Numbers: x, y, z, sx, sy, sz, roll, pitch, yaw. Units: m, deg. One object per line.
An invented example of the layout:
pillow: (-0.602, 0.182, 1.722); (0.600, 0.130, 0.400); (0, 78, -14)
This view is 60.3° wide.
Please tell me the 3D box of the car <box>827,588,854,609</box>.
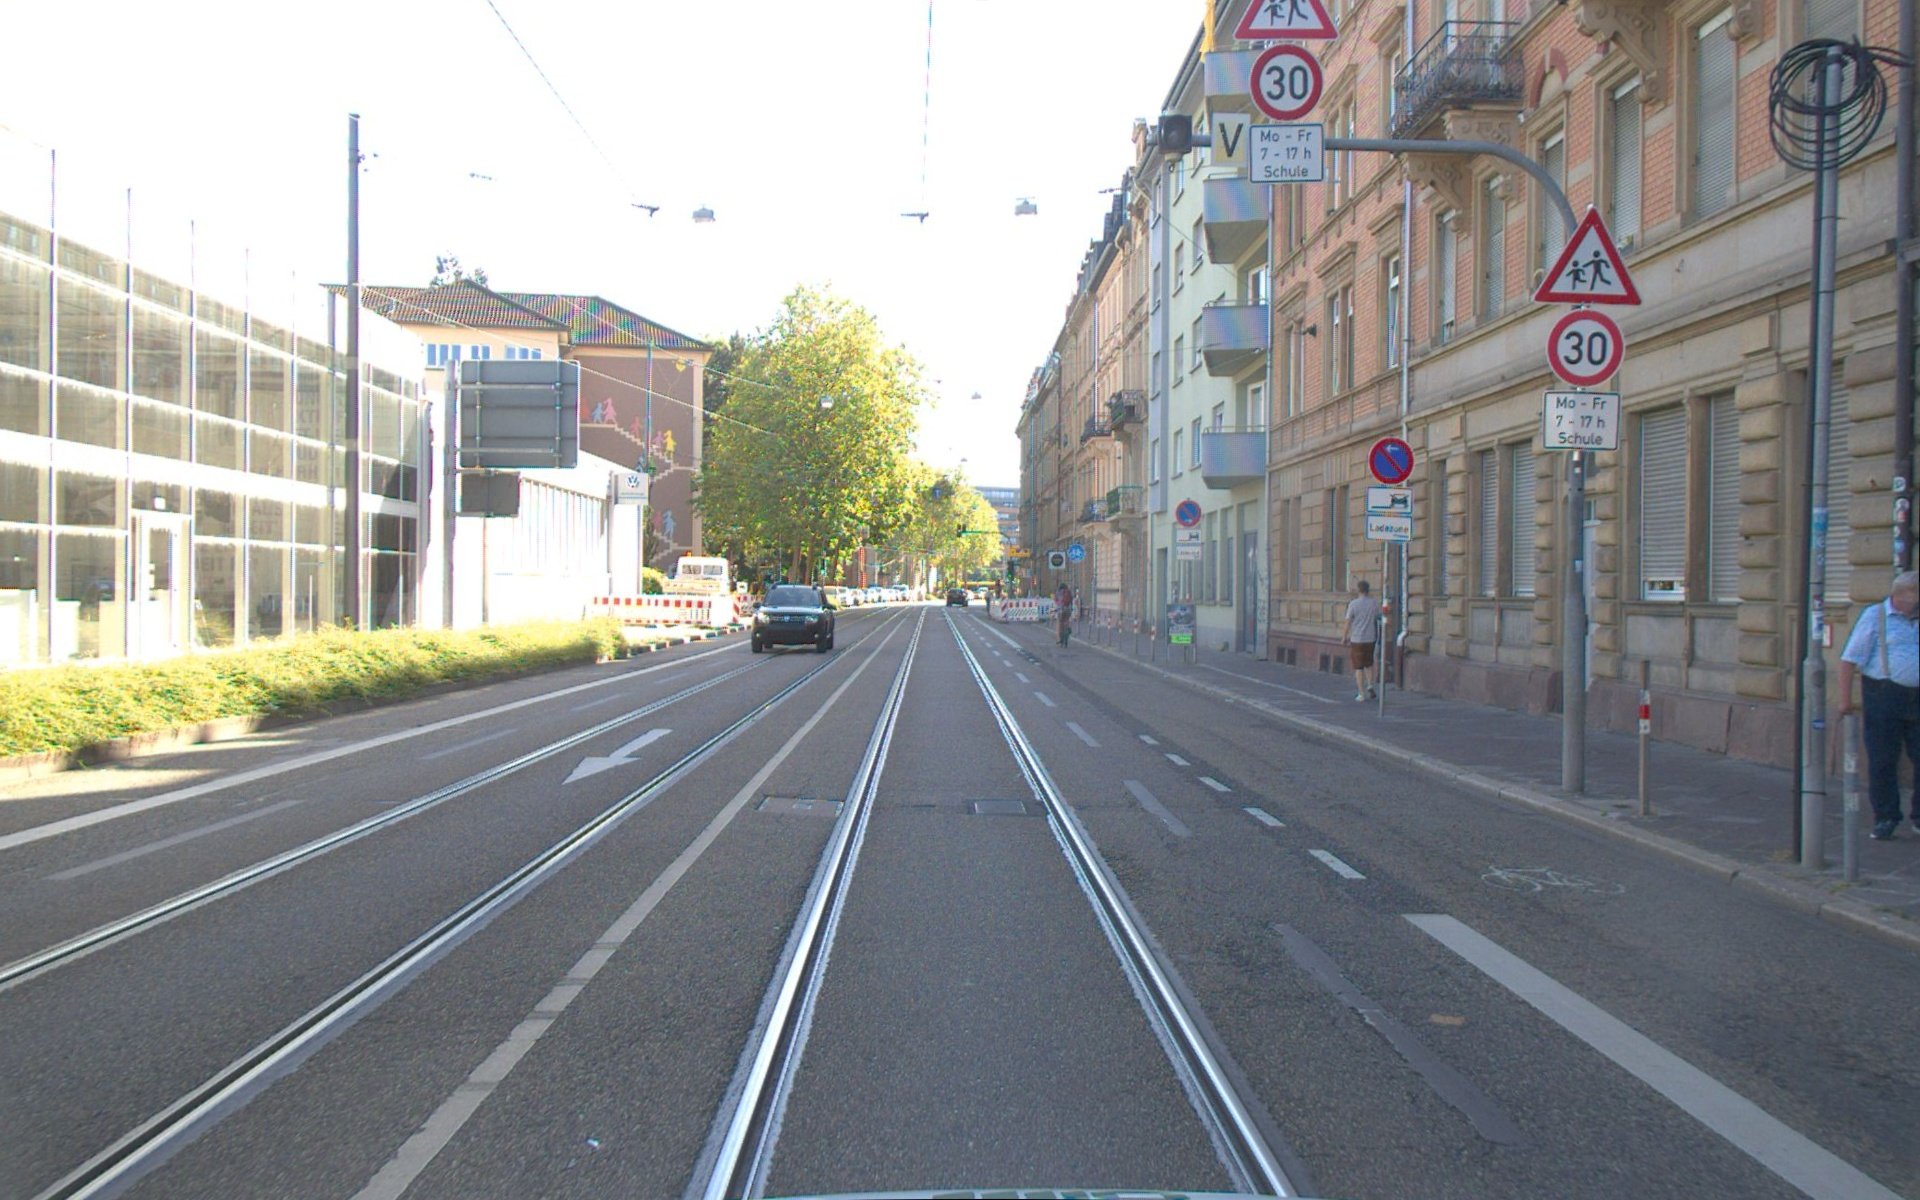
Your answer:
car: (-9.766, -0.139, 135.528); (1.712, 1.636, 4.044); (2, 0, 2)

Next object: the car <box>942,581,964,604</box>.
car: (-0.663, -0.651, 154.750); (1.953, 2.049, 3.999); (2, 0, 0)

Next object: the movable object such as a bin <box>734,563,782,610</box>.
movable object such as a bin: (-12.325, -0.832, 101.186); (2.446, 2.691, 5.985); (2, 0, -4)

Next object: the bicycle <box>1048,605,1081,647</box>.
bicycle: (3.014, 0.735, 47.919); (0.667, 1.134, 2.706); (2, 0, -1)

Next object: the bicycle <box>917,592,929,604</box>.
bicycle: (-5.002, -0.305, 225.028); (1.208, 1.600, 2.899); (2, 0, 6)

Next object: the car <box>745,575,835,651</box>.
car: (-4.123, 0.311, 40.686); (1.723, 1.726, 4.143); (2, 0, 0)

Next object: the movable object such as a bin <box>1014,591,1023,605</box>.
movable object such as a bin: (4.607, -0.168, 130.518); (0.660, 1.054, 0.813); (0, 1, -1)

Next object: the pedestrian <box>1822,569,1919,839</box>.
pedestrian: (5.960, 0.636, 10.369); (0.781, 1.633, 0.652); (0, -1, 1)

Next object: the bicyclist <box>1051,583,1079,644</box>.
bicyclist: (3.032, 0.383, 47.773); (0.653, 1.726, 1.043); (2, -1, -1)

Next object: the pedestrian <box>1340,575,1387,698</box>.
pedestrian: (5.780, 0.515, 23.695); (0.541, 1.730, 0.474); (-1, -1, 4)

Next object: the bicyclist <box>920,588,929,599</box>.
bicyclist: (-4.852, -0.859, 224.983); (1.054, 1.452, 1.147); (2, -1, 7)

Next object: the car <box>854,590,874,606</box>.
car: (-10.098, -0.198, 174.003); (1.712, 1.521, 4.044); (2, 0, 2)

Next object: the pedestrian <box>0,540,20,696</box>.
pedestrian: (-11.263, 0.200, 18.789); (0.516, 1.795, 1.051); (2, -1, -1)

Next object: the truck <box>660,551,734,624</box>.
truck: (-11.093, -0.486, 70.127); (2.488, 2.879, 6.370); (2, 0, -5)
